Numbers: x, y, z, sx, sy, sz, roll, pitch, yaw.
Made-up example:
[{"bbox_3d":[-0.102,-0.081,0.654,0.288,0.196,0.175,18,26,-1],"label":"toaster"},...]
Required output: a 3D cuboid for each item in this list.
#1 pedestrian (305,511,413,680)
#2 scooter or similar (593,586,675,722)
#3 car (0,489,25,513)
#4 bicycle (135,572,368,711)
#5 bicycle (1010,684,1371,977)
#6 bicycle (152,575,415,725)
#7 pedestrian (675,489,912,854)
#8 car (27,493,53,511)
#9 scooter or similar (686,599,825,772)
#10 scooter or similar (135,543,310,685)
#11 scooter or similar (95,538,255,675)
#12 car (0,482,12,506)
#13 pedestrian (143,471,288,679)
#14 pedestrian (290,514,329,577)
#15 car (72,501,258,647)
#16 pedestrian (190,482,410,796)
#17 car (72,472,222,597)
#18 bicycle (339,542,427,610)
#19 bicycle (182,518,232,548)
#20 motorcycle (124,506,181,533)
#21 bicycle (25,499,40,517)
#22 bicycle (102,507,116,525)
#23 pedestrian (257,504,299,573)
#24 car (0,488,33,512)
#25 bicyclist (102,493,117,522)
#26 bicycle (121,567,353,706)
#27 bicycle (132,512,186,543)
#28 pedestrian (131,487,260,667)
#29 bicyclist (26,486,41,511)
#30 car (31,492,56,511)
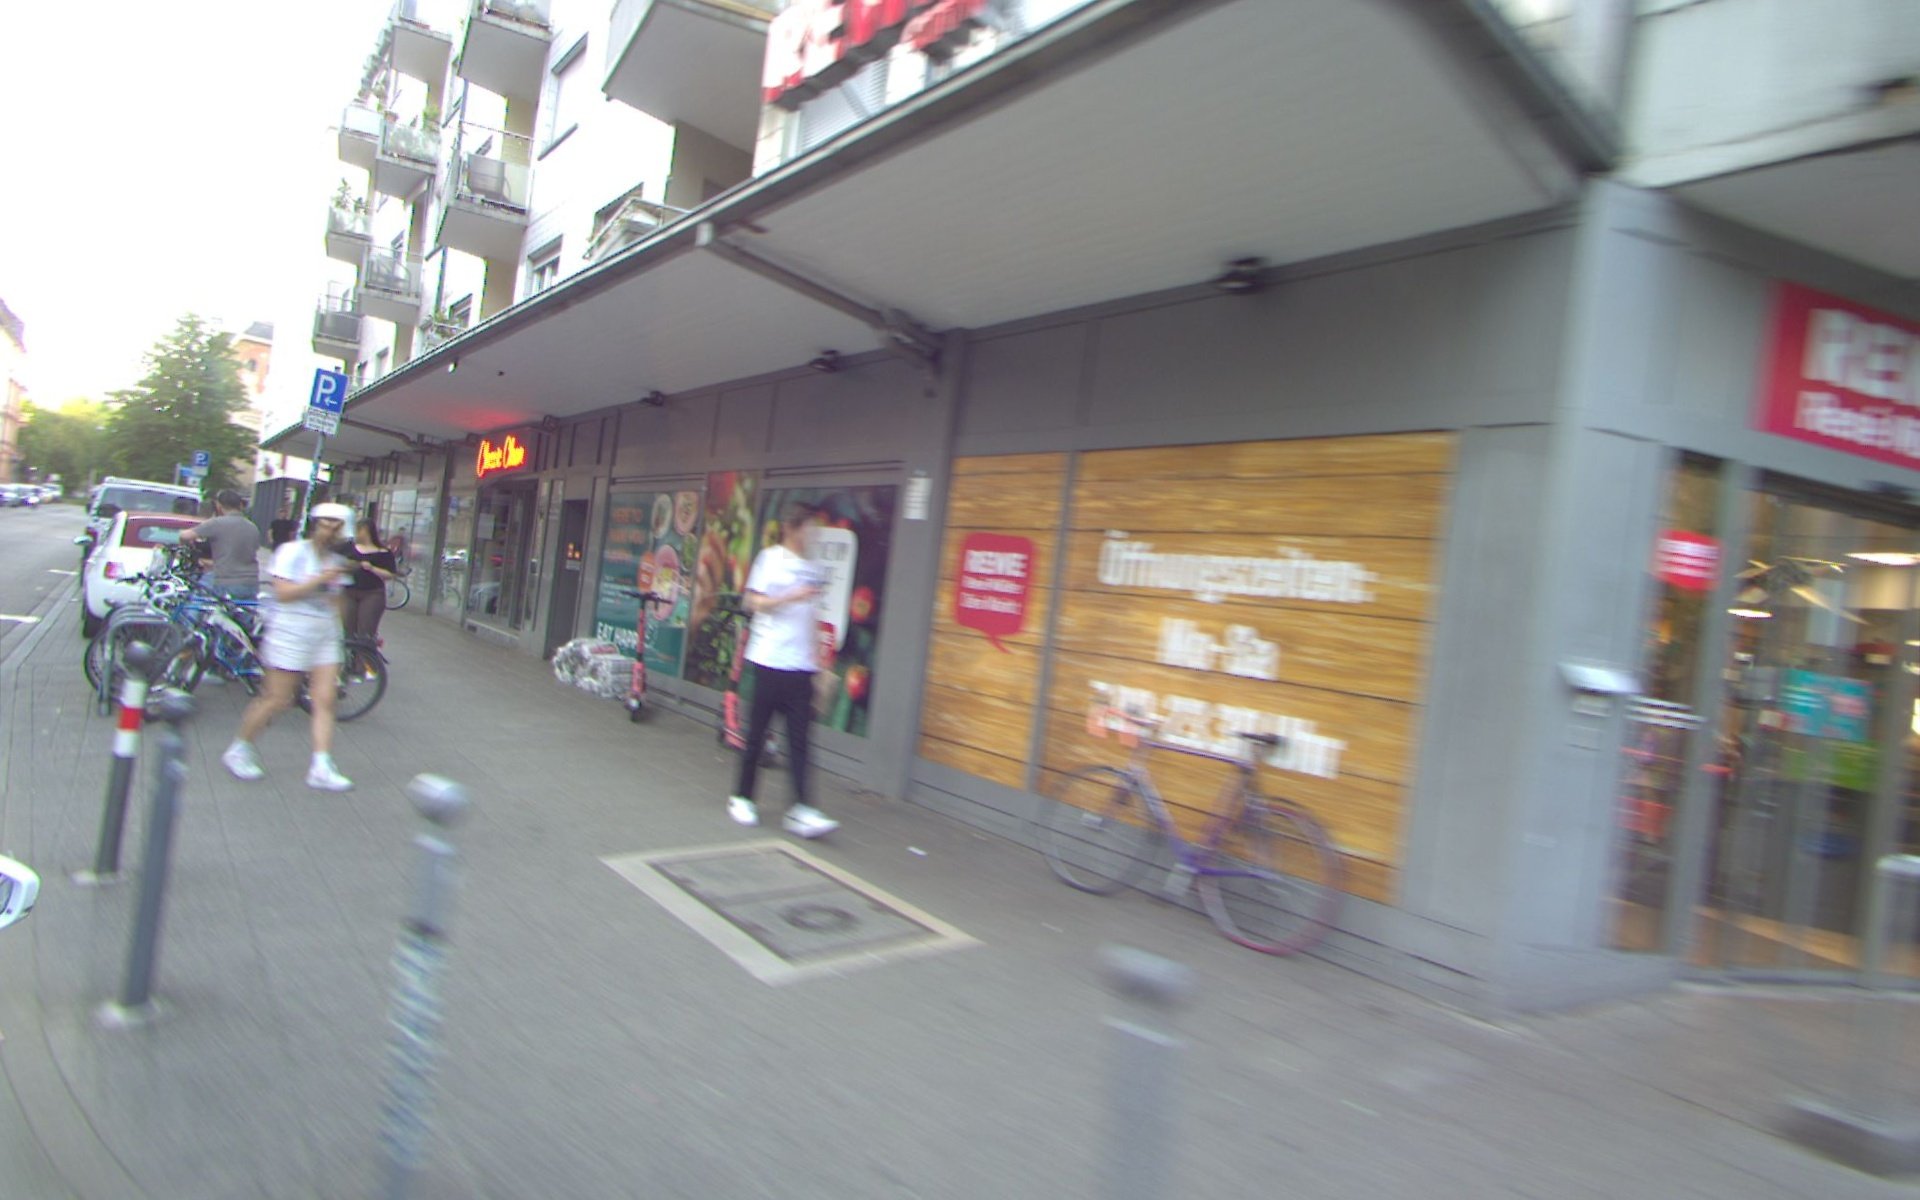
[{"bbox_3d":[-6.284,-0.046,10.555,0.715,1.653,0.560,6,2,-15],"label":"pedestrian"},{"bbox_3d":[-3.218,0.506,10.009,0.528,1.218,1.161,7,0,-13],"label":"scooter or similar"},{"bbox_3d":[-68.316,-7.119,71.786,1.829,1.473,4.161,12,-3,-39],"label":"car"},{"bbox_3d":[-5.625,0.352,8.034,1.412,0.996,0.505,6,0,-43],"label":"bicycle"},{"bbox_3d":[1.081,1.068,5.120,0.455,1.036,1.763,8,-2,-40],"label":"bicycle"},{"bbox_3d":[-5.100,0.406,7.648,1.542,1.014,0.505,6,0,-43],"label":"bicycle"},{"bbox_3d":[-1.024,0.370,6.003,0.757,1.937,1.177,4,2,-39],"label":"pedestrian"},{"bbox_3d":[-91.968,-9.796,100.579,1.694,1.442,3.974,10,-3,-42],"label":"car"},{"bbox_3d":[-1.726,0.657,8.300,0.474,1.233,1.610,6,-1,-32],"label":"scooter or similar"},{"bbox_3d":[-6.867,0.149,9.394,0.530,1.186,1.157,10,3,43],"label":"scooter or similar"},{"bbox_3d":[-7.584,0.050,9.774,0.527,1.186,1.163,8,2,0],"label":"scooter or similar"},{"bbox_3d":[-62.450,-6.953,64.676,1.731,1.434,4.726,10,-3,-40],"label":"car"},{"bbox_3d":[-6.755,-0.210,9.141,0.652,1.778,0.736,7,1,29],"label":"pedestrian"},{"bbox_3d":[-18.448,-1.543,28.556,0.702,1.686,0.740,6,0,-25],"label":"pedestrian"},{"bbox_3d":[-10.169,-0.384,12.793,1.586,1.520,3.383,6,1,-42],"label":"car"},{"bbox_3d":[-3.893,0.204,5.945,0.868,1.673,0.663,7,2,27],"label":"pedestrian"},{"bbox_3d":[-15.982,-1.320,19.867,1.949,1.999,4.948,6,1,-39],"label":"car"},{"bbox_3d":[-11.837,-0.494,20.634,1.685,1.211,0.909,6,1,37],"label":"bicycle"},{"bbox_3d":[-33.135,-2.939,44.290,1.712,1.067,0.647,6,1,-37],"label":"bicycle"},{"bbox_3d":[-40.192,-4.005,50.067,0.653,1.092,2.057,6,0,35],"label":"motorcycle"},{"bbox_3d":[-64.403,-6.376,69.838,0.643,1.094,2.141,5,1,-45],"label":"bicycle"},{"bbox_3d":[-55.138,-5.441,65.174,0.642,1.094,1.811,5,1,-41],"label":"bicycle"},{"bbox_3d":[-19.187,-1.707,28.311,0.701,1.851,0.856,5,0,-24],"label":"pedestrian"},{"bbox_3d":[-74.267,-7.840,79.137,1.630,1.583,3.739,9,-2,-40],"label":"car"},{"bbox_3d":[-55.090,-5.991,65.180,0.642,1.783,0.640,5,2,-41],"label":"bicyclist"},{"bbox_3d":[-5.952,0.318,8.370,1.469,1.014,0.506,6,0,-33],"label":"bicycle"},{"bbox_3d":[-34.567,-3.134,43.420,1.715,1.132,0.699,6,1,-41],"label":"bicycle"},{"bbox_3d":[-7.334,-0.212,9.670,0.580,1.620,0.647,6,1,10],"label":"pedestrian"},{"bbox_3d":[-64.337,-7.063,69.828,0.643,1.641,0.906,5,2,-45],"label":"bicyclist"},{"bbox_3d":[-95.677,-10.294,105.094,1.694,1.569,3.974,10,-2,-42],"label":"car"}]
